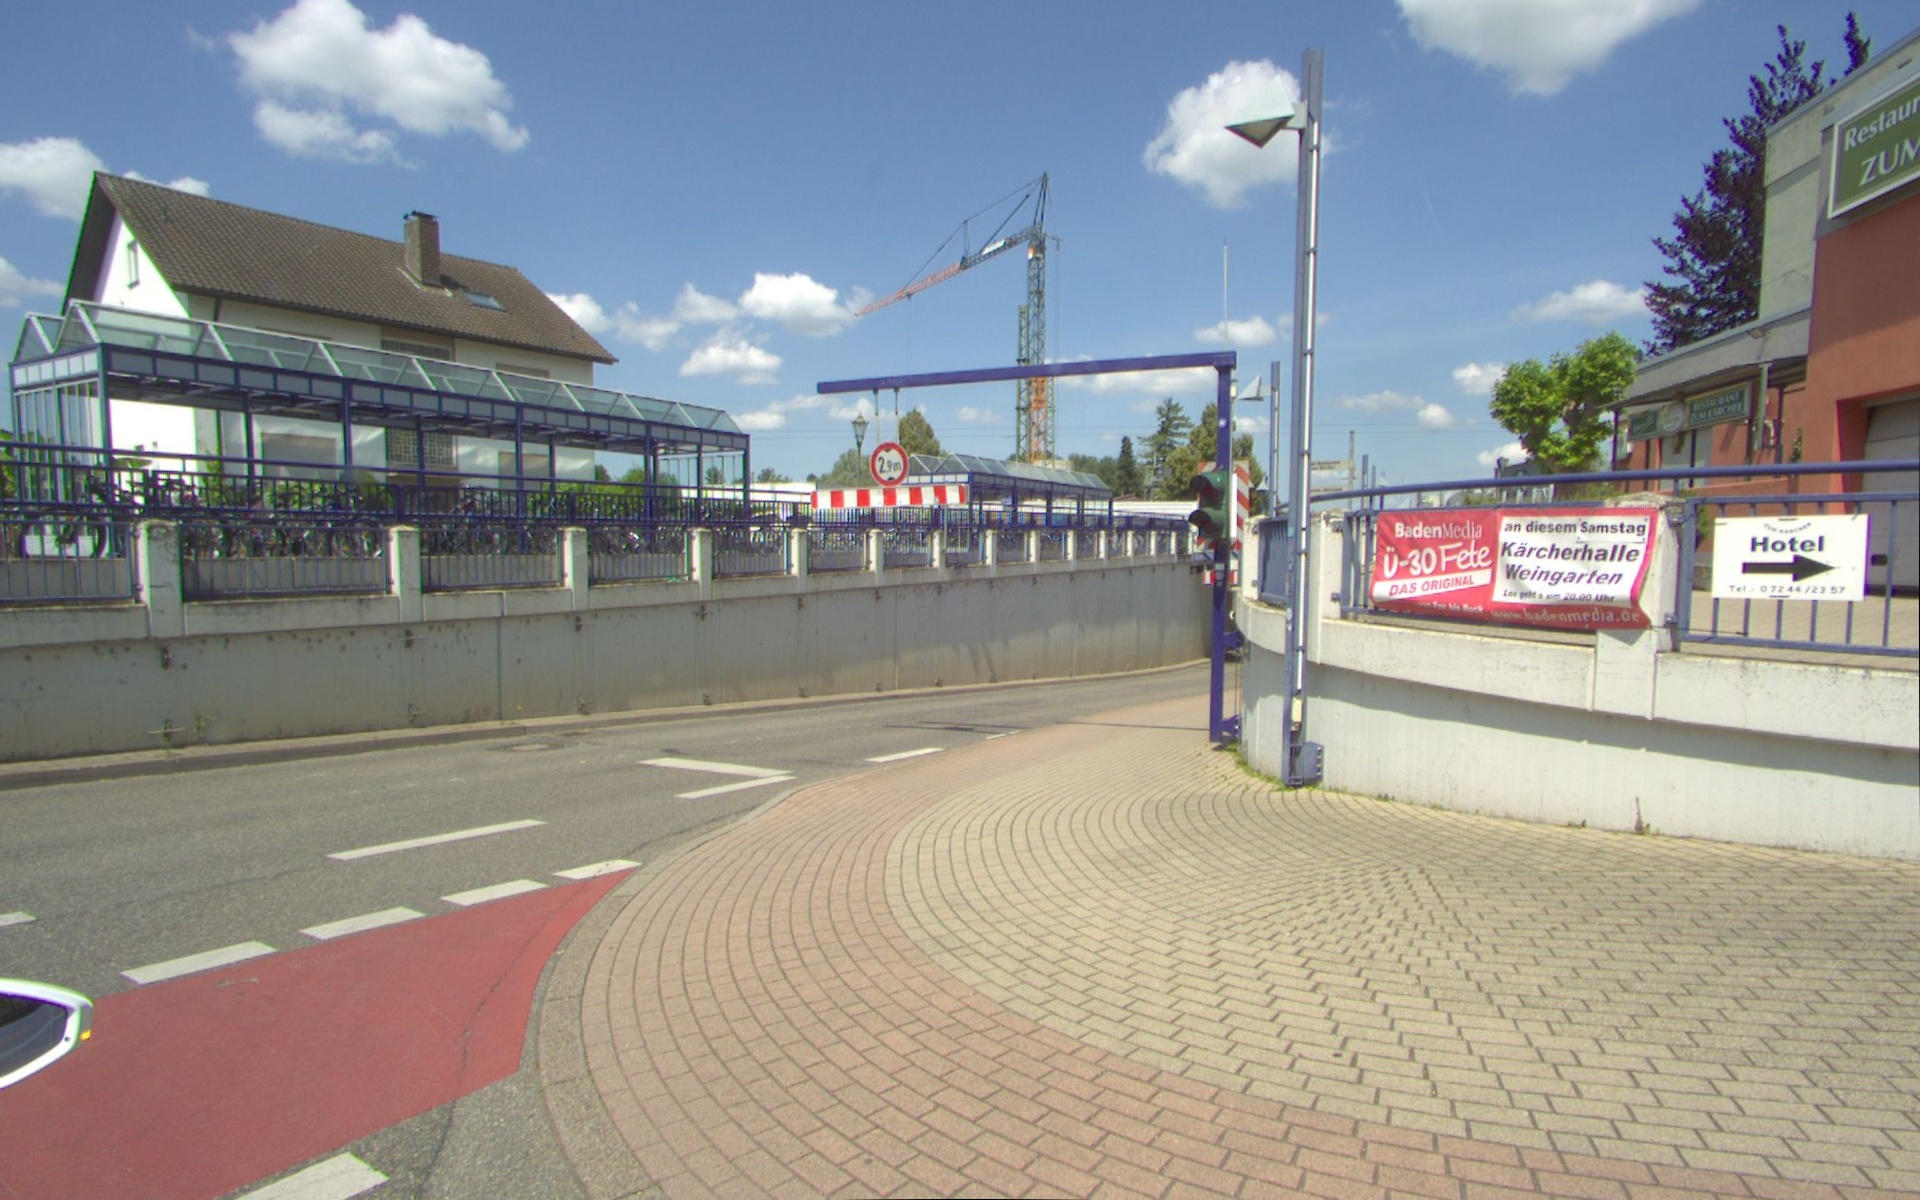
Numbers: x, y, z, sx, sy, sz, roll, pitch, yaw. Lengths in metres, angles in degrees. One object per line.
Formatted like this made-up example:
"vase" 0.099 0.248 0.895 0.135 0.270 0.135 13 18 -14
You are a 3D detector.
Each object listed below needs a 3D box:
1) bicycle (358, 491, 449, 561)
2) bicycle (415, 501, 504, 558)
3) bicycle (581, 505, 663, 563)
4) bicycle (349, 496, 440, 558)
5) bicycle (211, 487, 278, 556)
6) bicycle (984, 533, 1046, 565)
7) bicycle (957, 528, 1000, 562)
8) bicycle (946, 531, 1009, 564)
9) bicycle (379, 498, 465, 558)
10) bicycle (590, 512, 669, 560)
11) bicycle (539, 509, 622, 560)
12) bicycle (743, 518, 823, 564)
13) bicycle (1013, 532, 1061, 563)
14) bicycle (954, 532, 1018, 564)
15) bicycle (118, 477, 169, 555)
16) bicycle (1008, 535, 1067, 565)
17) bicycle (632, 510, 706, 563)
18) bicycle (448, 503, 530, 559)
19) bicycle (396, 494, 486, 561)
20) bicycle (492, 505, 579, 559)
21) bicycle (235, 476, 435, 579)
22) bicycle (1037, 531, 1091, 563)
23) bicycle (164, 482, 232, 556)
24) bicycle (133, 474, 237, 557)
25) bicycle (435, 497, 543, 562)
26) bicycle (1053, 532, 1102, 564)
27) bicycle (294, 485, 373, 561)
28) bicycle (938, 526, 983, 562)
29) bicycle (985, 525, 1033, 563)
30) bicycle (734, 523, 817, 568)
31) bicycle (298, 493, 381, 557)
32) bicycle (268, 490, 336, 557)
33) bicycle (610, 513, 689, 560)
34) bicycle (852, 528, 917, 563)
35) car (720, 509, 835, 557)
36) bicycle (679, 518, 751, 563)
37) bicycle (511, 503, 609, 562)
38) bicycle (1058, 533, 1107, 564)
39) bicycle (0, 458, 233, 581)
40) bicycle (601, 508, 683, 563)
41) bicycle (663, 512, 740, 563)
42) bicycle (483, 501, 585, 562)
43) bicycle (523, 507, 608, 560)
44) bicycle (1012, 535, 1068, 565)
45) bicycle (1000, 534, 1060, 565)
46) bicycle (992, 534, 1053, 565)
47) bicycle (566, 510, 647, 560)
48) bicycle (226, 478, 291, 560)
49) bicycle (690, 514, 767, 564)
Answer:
"bicycle" -8.581 -1.119 15.388 2.253 1.009 0.433 3 4 40
"bicycle" -9.161 -1.279 18.303 1.936 1.009 0.517 2 3 31
"bicycle" -6.325 -1.214 18.674 0.575 1.009 2.165 -2 4 -44
"bicycle" -9.769 -1.248 17.279 1.936 1.009 0.472 2 3 31
"bicycle" -11.088 -1.198 15.498 1.942 1.009 0.371 3 4 41
"bicycle" 1.813 -1.696 33.141 1.994 1.009 0.509 2 3 28
"bicycle" 0.643 -1.937 35.244 1.581 1.174 0.383 3 4 40
"bicycle" 0.533 -1.640 31.214 1.994 1.009 0.436 2 3 28
"bicycle" -9.509 -1.259 17.678 1.936 1.009 0.413 2 3 31
"bicycle" -7.164 -1.381 21.671 1.936 1.009 0.517 2 3 31
"bicycle" -7.847 -1.353 20.684 1.936 1.009 0.517 2 3 31
"bicycle" -4.098 -1.355 23.110 2.010 1.009 0.542 3 3 35
"bicycle" 2.959 -2.028 38.468 1.794 1.174 0.509 2 3 29
"bicycle" 0.810 -1.658 31.766 1.994 1.009 0.509 2 3 28
"bicycle" -11.415 -1.142 13.984 0.452 1.009 1.870 -2 4 -42
"bicycle" 2.656 -1.737 34.501 1.994 1.009 0.509 2 3 28
"bicycle" -5.870 -1.264 20.112 2.016 1.009 0.512 3 4 44
"bicycle" -8.915 -1.301 18.943 1.775 1.009 0.517 2 3 31
"bicycle" -8.251 -1.133 15.868 2.253 1.009 0.433 3 4 40
"bicycle" -8.241 -1.308 19.402 1.936 1.009 0.517 2 3 31
"bicycle" -7.501 -0.839 12.148 0.386 1.141 2.111 3 3 30
"bicycle" 3.788 -1.940 36.593 1.893 1.174 0.509 2 3 29
"bicycle" -11.162 -1.165 14.644 1.942 1.009 0.371 3 4 41
"bicycle" -10.099 -1.083 13.025 2.044 1.009 0.331 2 3 31
"bicycle" -7.769 -1.149 16.467 2.248 1.009 0.531 3 3 34
"bicycle" 4.479 -1.995 38.255 1.794 1.174 0.509 2 3 29
"bicycle" -8.974 -1.083 14.316 2.078 1.009 0.433 3 4 43
"bicycle" 0.008 -1.877 33.496 1.581 1.174 0.383 3 4 40
"bicycle" 1.576 -1.804 32.313 1.581 1.174 0.426 3 4 40
"bicycle" -4.285 -1.259 23.150 2.129 1.009 0.435 2 3 31
"bicycle" -10.325 -1.231 16.631 1.938 1.009 0.425 3 3 35
"bicycle" -10.538 -1.209 16.009 1.942 1.009 0.371 3 4 41
"bicycle" -6.878 -1.395 22.141 1.936 1.009 0.517 2 3 31
"bicycle" -2.297 -1.646 30.209 1.994 1.009 0.509 2 3 28
"car" -6.971 -2.531 38.138 3.936 1.701 1.991 2 3 27
"bicycle" -5.802 -1.404 23.647 2.012 1.009 0.541 3 3 38
"bicycle" -7.248 -1.206 18.108 2.157 1.009 0.531 3 3 34
"bicycle" 4.735 -2.010 38.735 1.794 1.174 0.509 2 3 29
"bicycle" -8.655 -0.778 10.155 0.328 1.141 2.111 3 3 30
"bicycle" -6.205 -1.245 19.495 2.013 1.009 0.513 3 4 39
"bicycle" -5.352 -1.277 20.656 2.014 1.009 0.513 3 4 41
"bicycle" -7.421 -1.181 17.400 2.157 1.009 0.531 3 3 34
"bicycle" -7.923 -1.330 20.069 1.936 1.009 0.517 2 3 31
"bicycle" 2.794 -1.760 35.117 1.892 1.009 0.509 2 3 28
"bicycle" 2.372 -1.727 34.124 1.994 1.009 0.509 2 3 28
"bicycle" 2.101 -1.712 33.661 1.994 1.009 0.509 2 3 28
"bicycle" -7.494 -1.367 21.185 1.936 1.009 0.517 2 3 31
"bicycle" -9.378 -1.051 13.358 0.432 1.009 2.081 -2 4 -42
"bicycle" -4.959 -1.300 21.374 2.014 1.009 0.541 3 4 41
